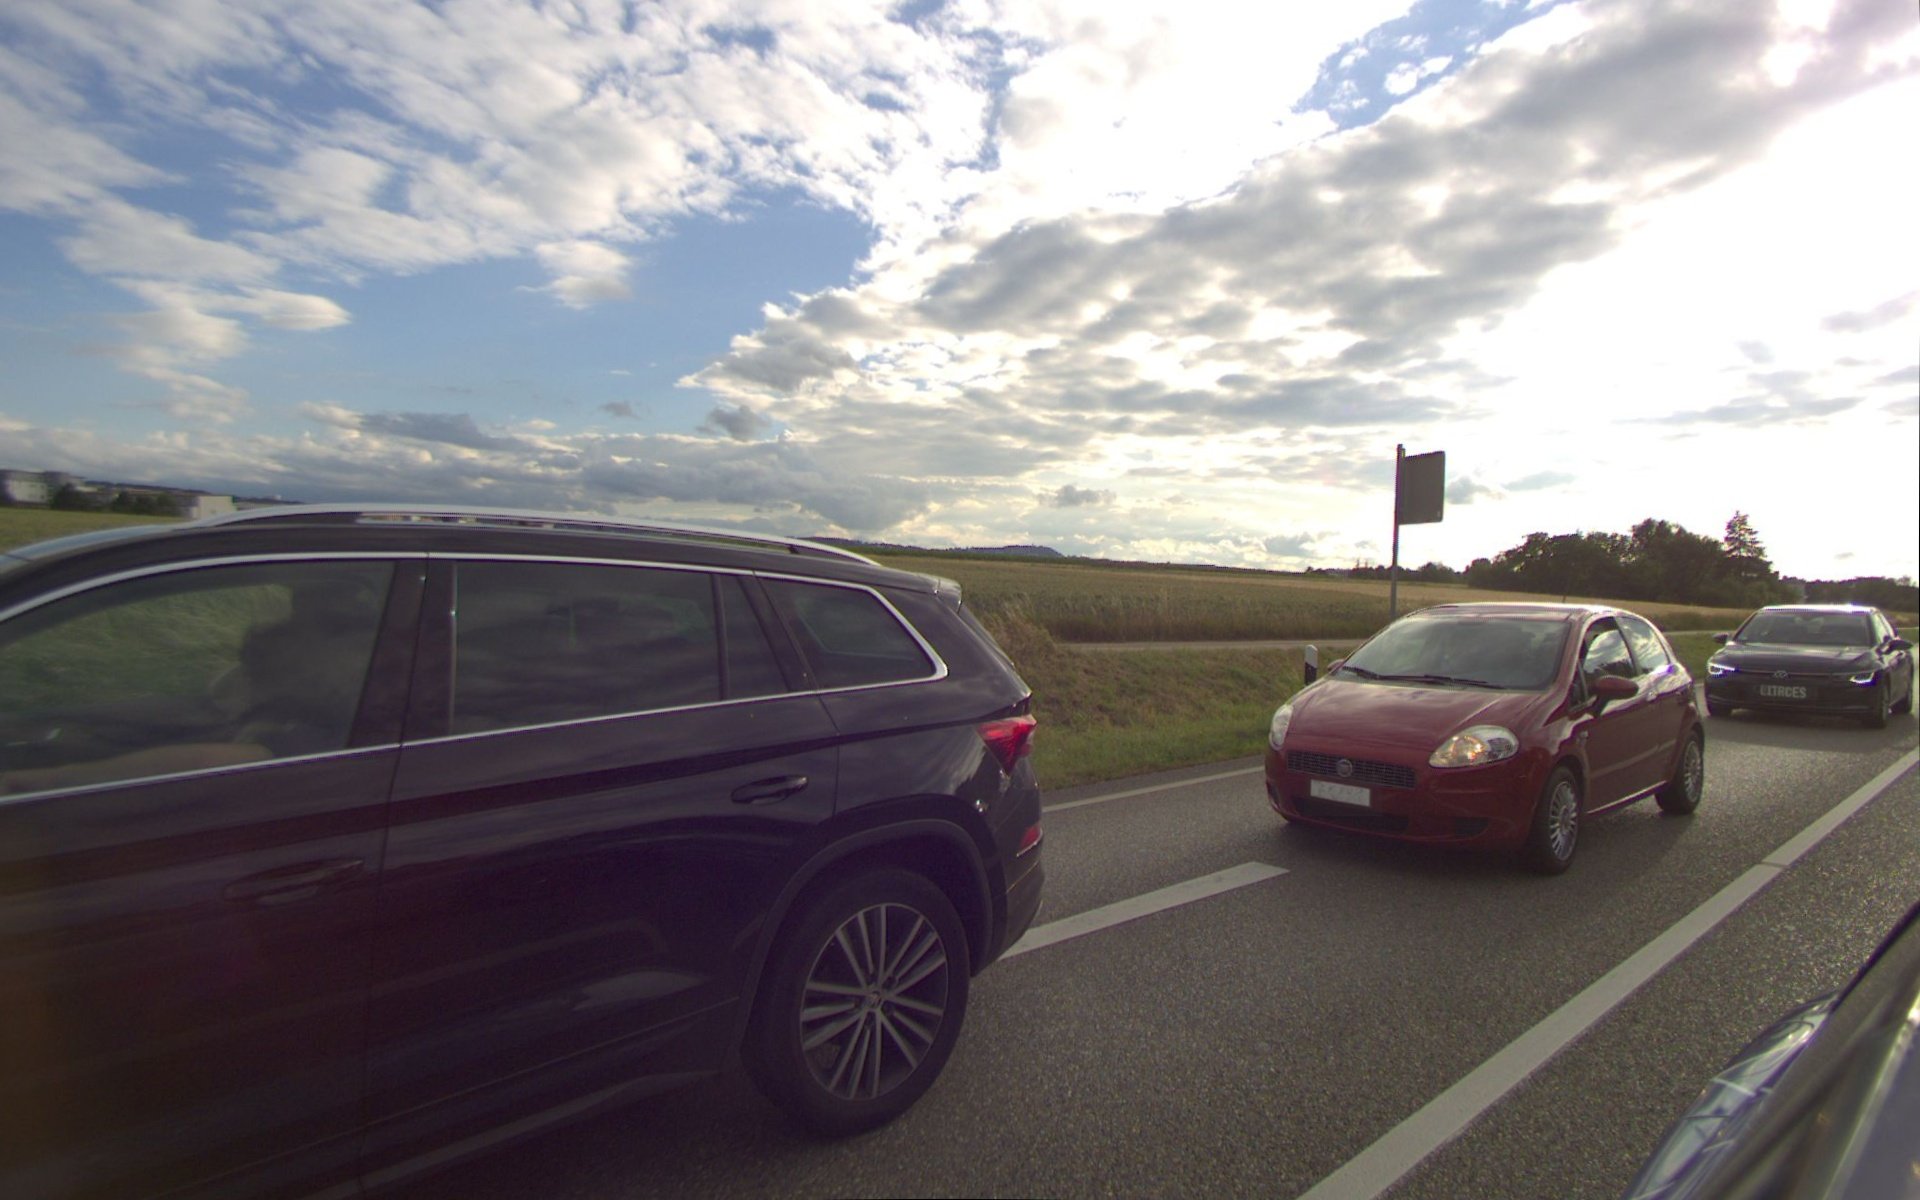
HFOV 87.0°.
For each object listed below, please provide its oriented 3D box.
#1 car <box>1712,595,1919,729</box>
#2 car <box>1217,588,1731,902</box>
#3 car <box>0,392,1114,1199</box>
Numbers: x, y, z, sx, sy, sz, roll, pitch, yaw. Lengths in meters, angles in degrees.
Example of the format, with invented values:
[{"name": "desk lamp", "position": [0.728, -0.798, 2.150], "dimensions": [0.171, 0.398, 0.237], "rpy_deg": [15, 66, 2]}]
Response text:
[{"name": "car", "position": [11.482, 0.688, 13.264], "dimensions": [3.962, 1.475, 1.797], "rpy_deg": [0, 0, -41]}, {"name": "car", "position": [3.556, 0.670, 6.702], "dimensions": [3.840, 1.475, 1.710], "rpy_deg": [-1, 0, -41]}, {"name": "car", "position": [-1.786, 0.533, 2.555], "dimensions": [4.477, 1.730, 1.839], "rpy_deg": [-1, 0, -41]}]
